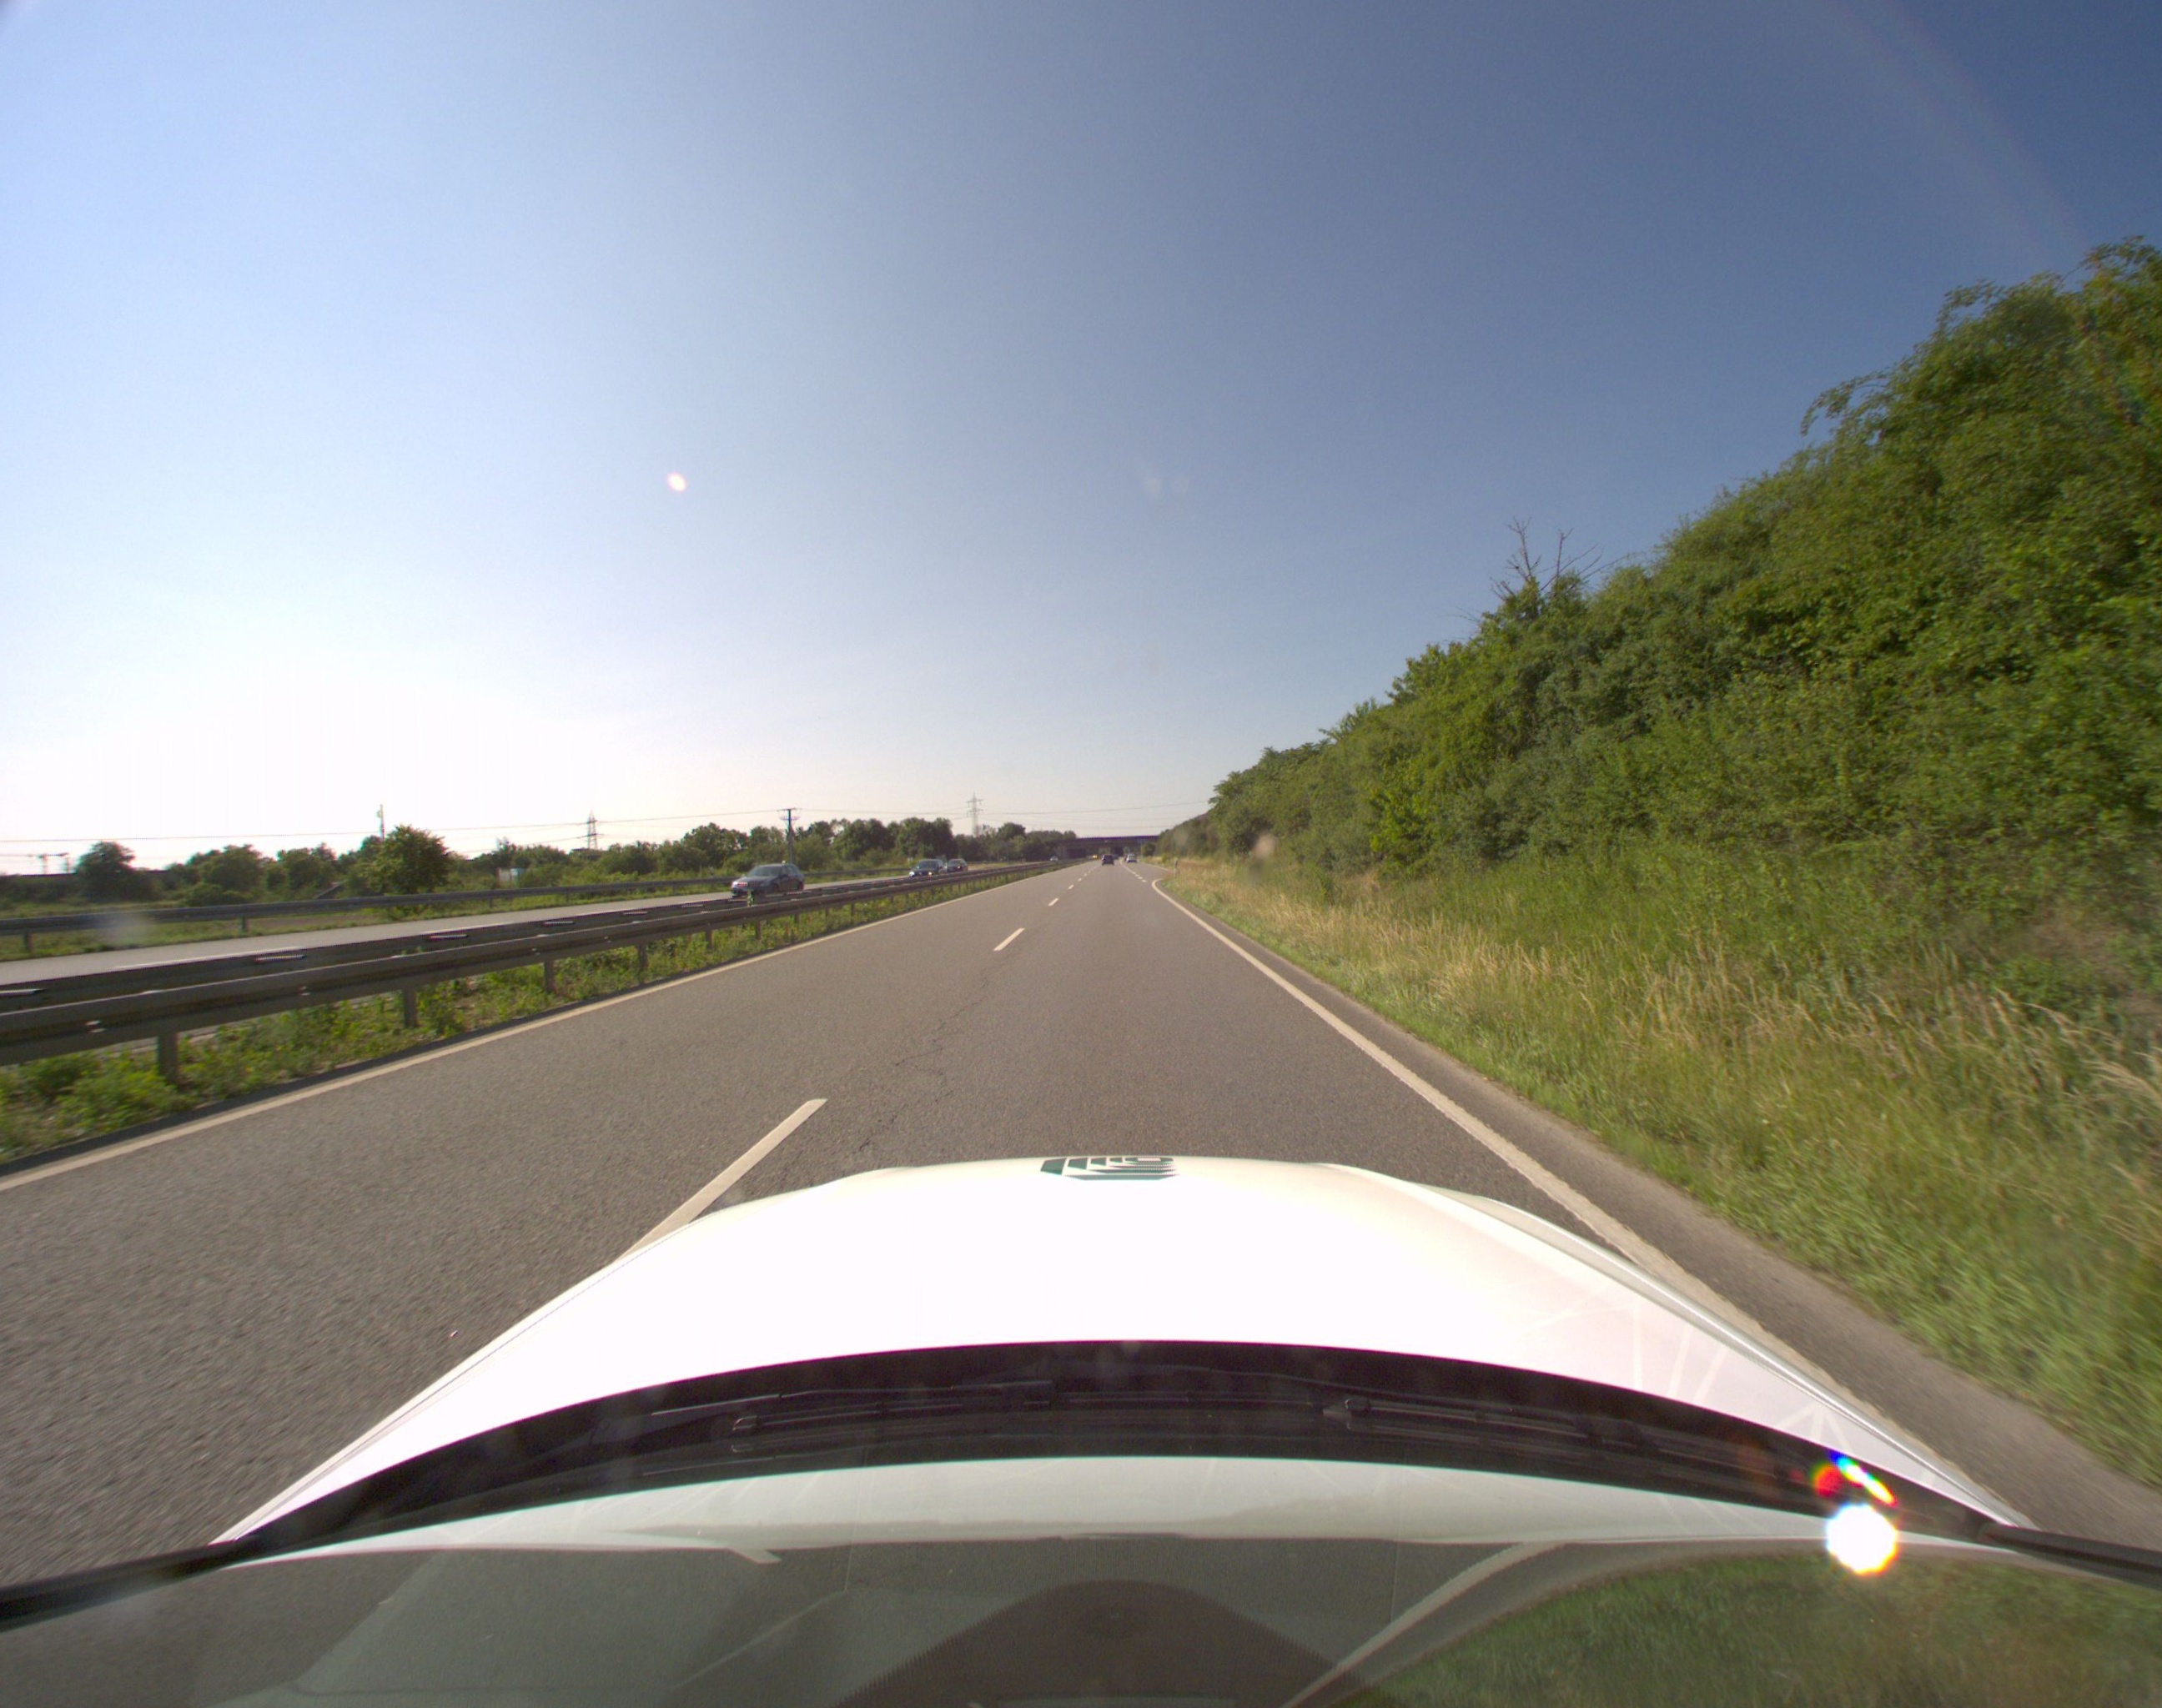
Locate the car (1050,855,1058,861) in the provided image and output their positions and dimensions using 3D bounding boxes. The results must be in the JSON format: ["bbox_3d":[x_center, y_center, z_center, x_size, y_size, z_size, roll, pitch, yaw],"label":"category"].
[{"bbox_3d":[-7.191,0.990,217.863,1.694,1.485,4.622,1,0,2],"label":"car"}]

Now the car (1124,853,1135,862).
[{"bbox_3d":[8.657,0.612,144.937,1.788,1.665,4.005,0,0,4],"label":"car"}]

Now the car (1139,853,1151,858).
[{"bbox_3d":[15.742,0.371,200.028,1.887,1.297,4.018,0,0,17],"label":"car"}]

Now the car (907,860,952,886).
[{"bbox_3d":[-9.265,1.150,50.210,1.808,1.473,4.325,0,0,2],"label":"car"}]

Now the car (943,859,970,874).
[{"bbox_3d":[-12.512,1.193,81.962,1.861,1.434,4.935,0,0,1],"label":"car"}]

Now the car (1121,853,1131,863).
[{"bbox_3d":[9.900,0.868,179.800,1.986,2.013,4.002,-4,0,2],"label":"car"}]

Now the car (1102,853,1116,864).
[{"bbox_3d":[4.084,0.651,119.891,1.841,1.644,4.005,-2,0,5],"label":"car"}]

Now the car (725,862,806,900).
[{"bbox_3d":[-13.463,1.112,35.048,1.707,1.450,4.323,-2,0,0],"label":"car"}]

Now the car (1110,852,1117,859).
[{"bbox_3d":[8.904,0.392,222.827,1.841,1.644,4.005,-2,0,5],"label":"car"}]
